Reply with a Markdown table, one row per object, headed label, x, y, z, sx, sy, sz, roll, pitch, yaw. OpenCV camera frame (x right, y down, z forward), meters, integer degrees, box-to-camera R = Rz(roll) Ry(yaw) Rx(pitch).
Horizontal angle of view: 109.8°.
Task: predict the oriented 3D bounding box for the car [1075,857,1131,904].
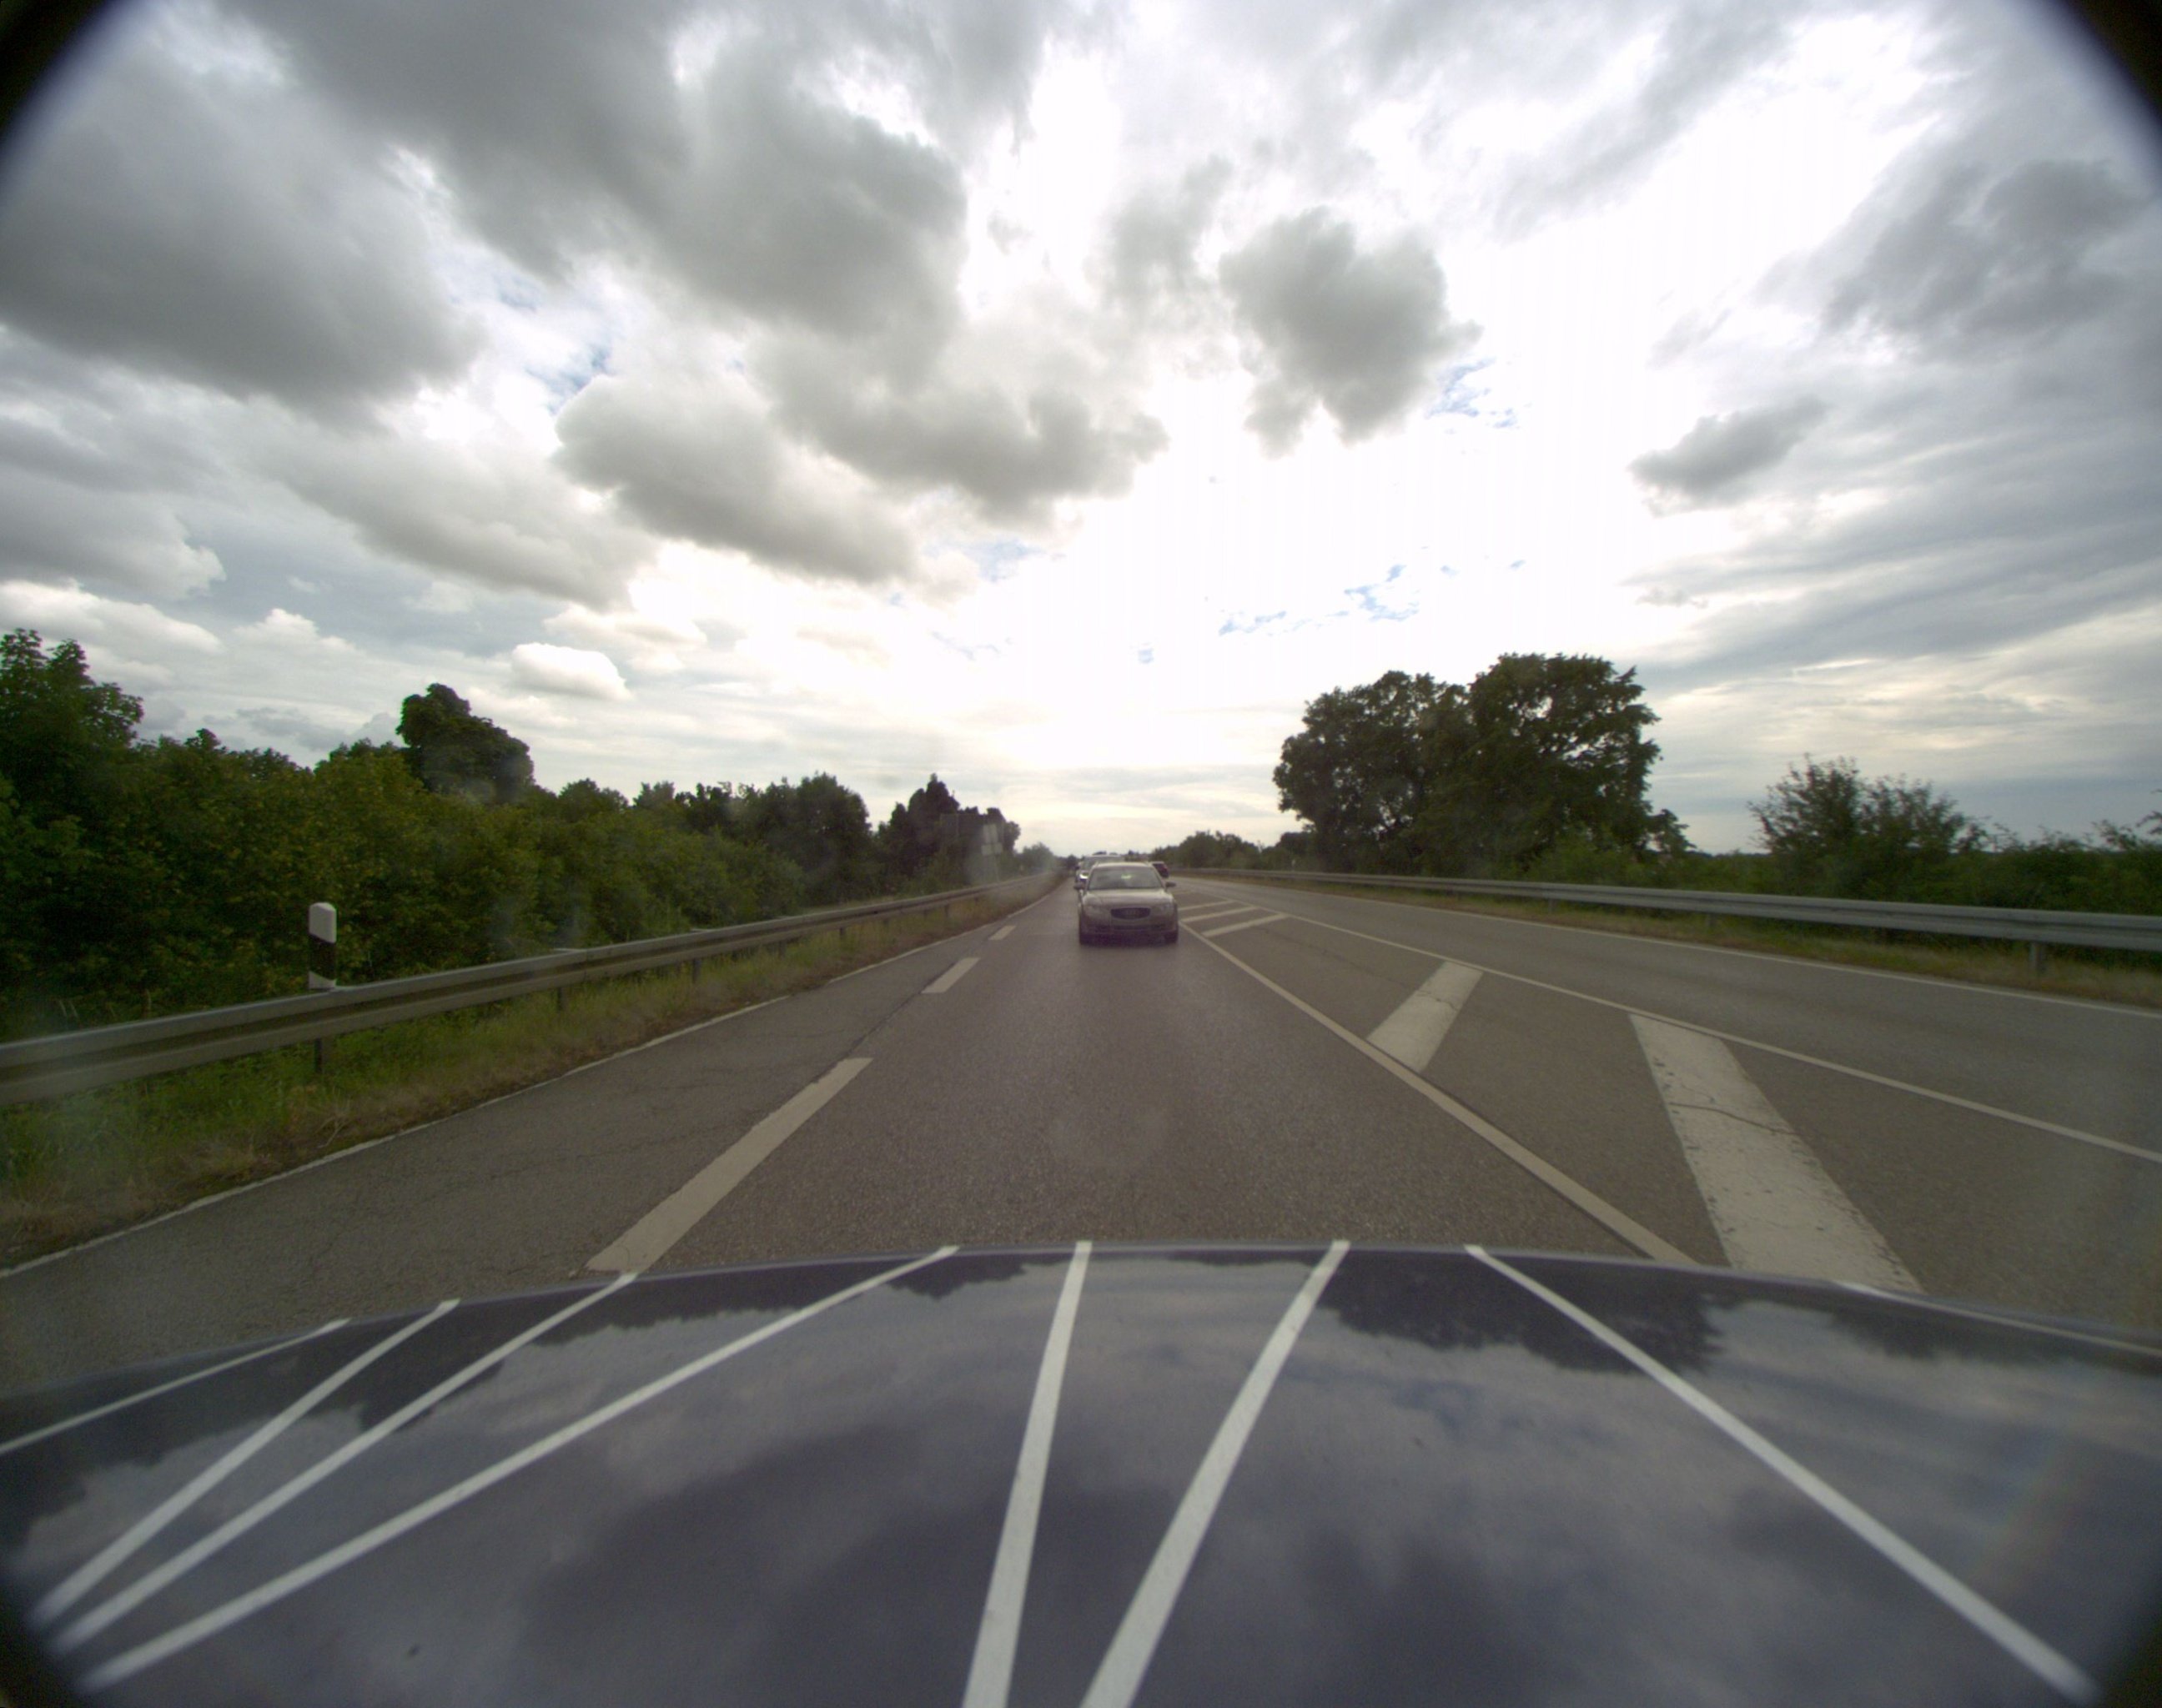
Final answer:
| label | x | y | z | sx | sy | sz | roll | pitch | yaw |
| --- | --- | --- | --- | --- | --- | --- | --- | --- | --- |
| car | 0.754 | 0.910 | 27.456 | 1.834 | 1.537 | 4.035 | -1 | 0 | 1 |

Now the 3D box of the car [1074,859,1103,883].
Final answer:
| label | x | y | z | sx | sy | sz | roll | pitch | yaw |
| --- | --- | --- | --- | --- | --- | --- | --- | --- | --- |
| car | 0.537 | 1.132 | 51.693 | 1.834 | 1.537 | 4.035 | -1 | 0 | 1 |

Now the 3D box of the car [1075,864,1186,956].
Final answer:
| label | x | y | z | sx | sy | sz | roll | pitch | yaw |
| --- | --- | --- | --- | --- | --- | --- | --- | --- | --- |
| car | 0.839 | 0.940 | 14.510 | 1.784 | 1.441 | 4.035 | -1 | 0 | 1 |

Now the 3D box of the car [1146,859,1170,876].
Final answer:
| label | x | y | z | sx | sy | sz | roll | pitch | yaw |
| --- | --- | --- | --- | --- | --- | --- | --- | --- | --- |
| car | 6.848 | 1.162 | 67.654 | 1.675 | 1.421 | 4.258 | -1 | 0 | 0 |

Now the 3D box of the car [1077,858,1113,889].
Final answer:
| label | x | y | z | sx | sy | sz | roll | pitch | yaw |
| --- | --- | --- | --- | --- | --- | --- | --- | --- | --- |
| car | 0.758 | 1.017 | 41.257 | 1.834 | 1.537 | 4.035 | -1 | 0 | 1 |
